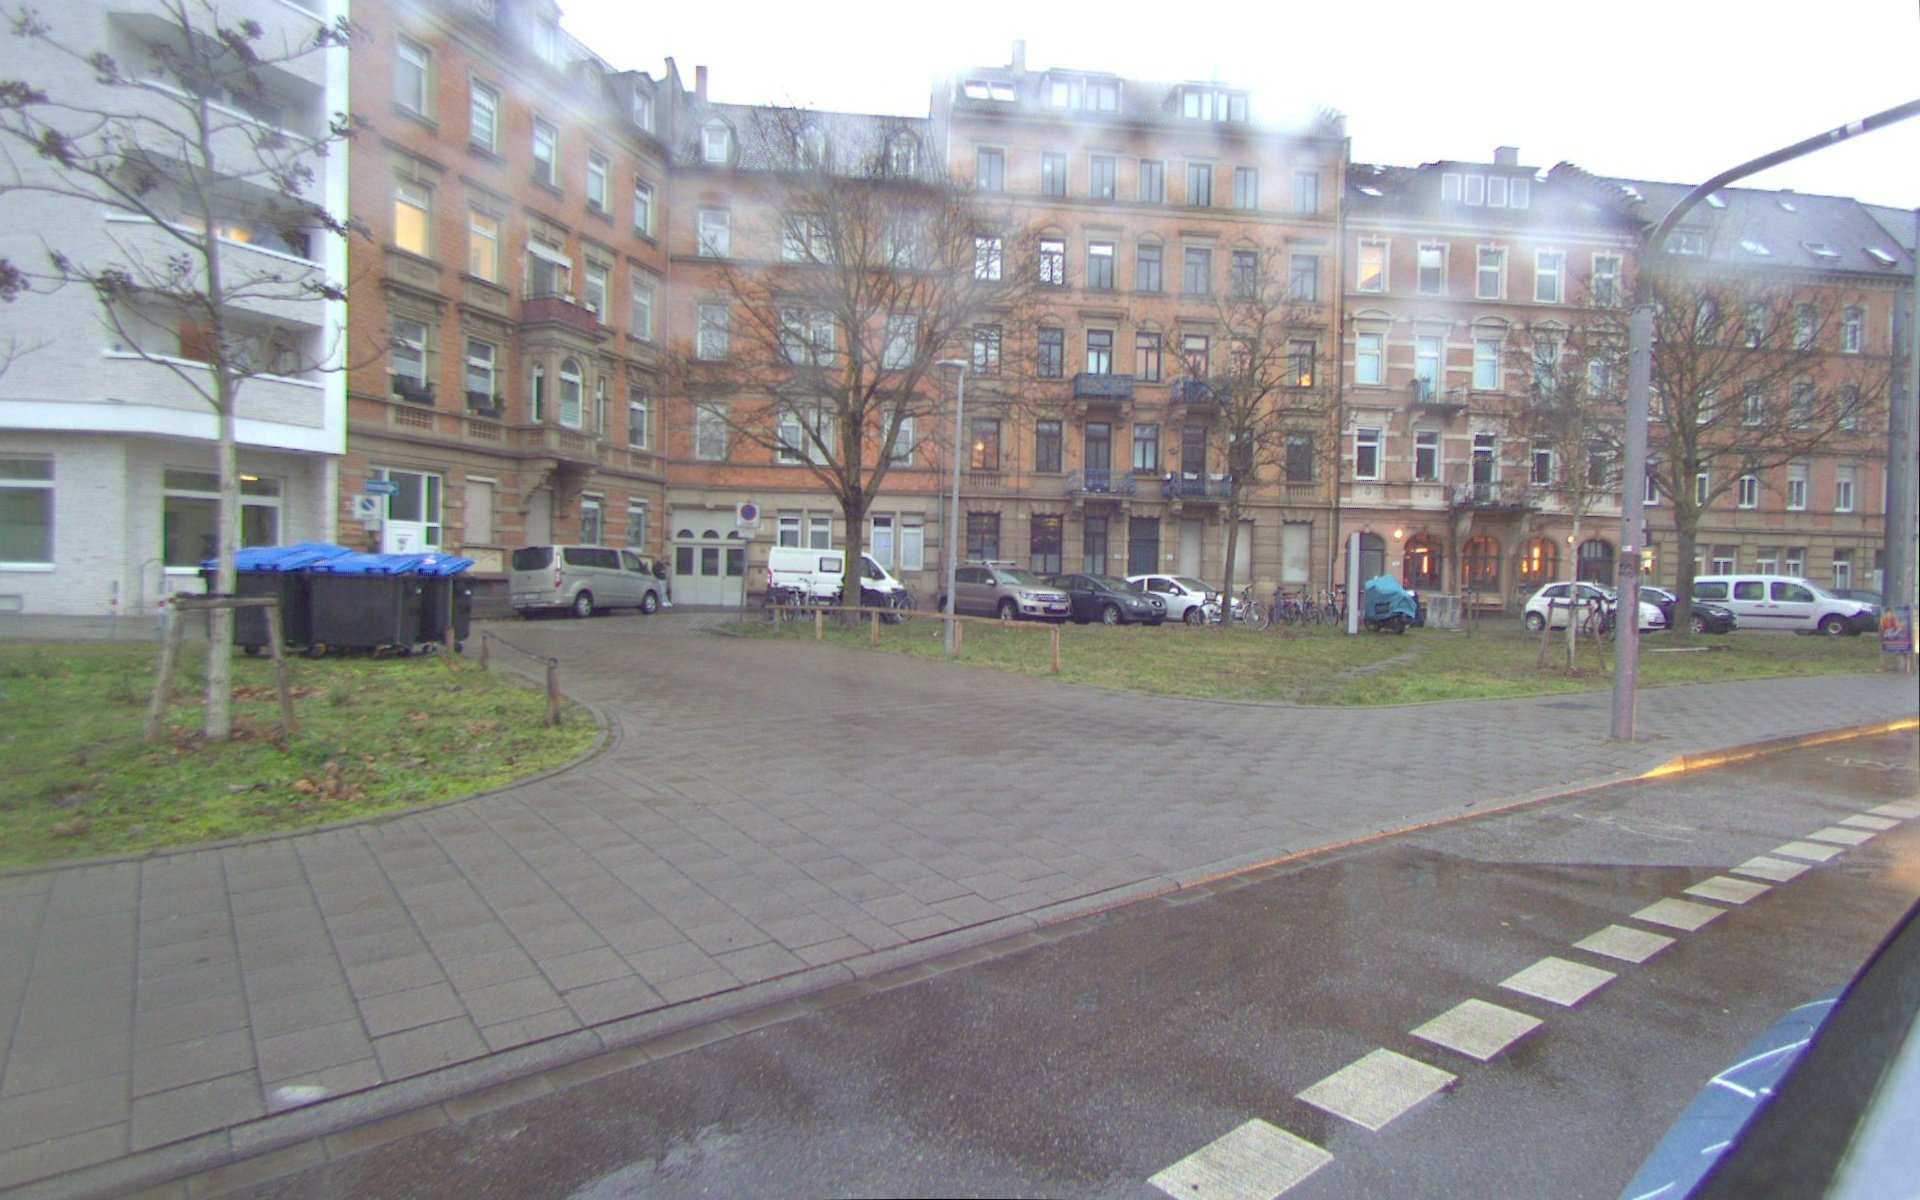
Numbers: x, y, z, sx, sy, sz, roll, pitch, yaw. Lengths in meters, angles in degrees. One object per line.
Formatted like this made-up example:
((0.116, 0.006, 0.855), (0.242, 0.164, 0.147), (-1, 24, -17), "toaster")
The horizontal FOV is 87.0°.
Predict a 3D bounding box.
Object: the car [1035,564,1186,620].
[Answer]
((3.904, -0.209, 26.654), (1.649, 1.372, 3.737), (2, 0, -42), "car")

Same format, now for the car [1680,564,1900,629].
((24.108, -0.176, 29.584), (1.745, 1.611, 4.663), (0, 3, -37), "car")

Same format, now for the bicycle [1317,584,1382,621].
((11.275, 0.057, 29.354), (0.613, 0.978, 2.176), (1, 2, -13), "bicycle")

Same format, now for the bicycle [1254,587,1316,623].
((9.333, 0.138, 29.161), (0.613, 0.978, 2.175), (3, -1, -13), "bicycle")

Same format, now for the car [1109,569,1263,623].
((6.079, -0.144, 27.536), (1.669, 1.353, 3.852), (0, 1, -42), "car")

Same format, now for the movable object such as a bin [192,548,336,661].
((-9.629, 0.053, 14.060), (1.303, 1.514, 1.032), (0, 1, -3), "movable object such as a bin")

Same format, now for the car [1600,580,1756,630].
((21.002, 0.121, 29.689), (1.634, 1.368, 3.430), (1, 0, -39), "car")

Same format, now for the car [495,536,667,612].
((-10.546, -0.635, 28.595), (1.976, 1.943, 4.715), (-1, -1, 21), "car")

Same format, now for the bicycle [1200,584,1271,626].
((6.633, 0.108, 24.422), (1.628, 0.948, 0.512), (2, 1, 15), "bicycle")

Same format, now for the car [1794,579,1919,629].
((27.144, 0.159, 29.461), (1.737, 1.250, 4.066), (2, 3, -35), "car")

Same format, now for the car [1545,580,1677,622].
((24.238, 0.059, 37.737), (3.967, 1.520, 1.740), (1, -1, -9), "car")

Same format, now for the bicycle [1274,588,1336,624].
((9.964, 0.169, 29.351), (0.613, 0.978, 2.175), (3, -1, -13), "bicycle")

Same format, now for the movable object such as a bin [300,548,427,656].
((-8.340, 0.008, 14.200), (1.200, 1.433, 1.018), (1, 2, -3), "movable object such as a bin")

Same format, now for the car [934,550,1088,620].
((1.259, -0.451, 26.483), (1.908, 1.656, 4.000), (-1, 3, -37), "car")

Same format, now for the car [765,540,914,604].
((-4.115, -0.963, 34.482), (4.884, 2.038, 2.004), (1, 2, -9), "car")

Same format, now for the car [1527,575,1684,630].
((18.427, 0.066, 29.011), (1.583, 1.461, 3.467), (1, 0, -34), "car")

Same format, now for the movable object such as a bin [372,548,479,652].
((-8.046, 0.011, 15.292), (1.022, 1.509, 1.035), (0, -1, 6), "movable object such as a bin")
